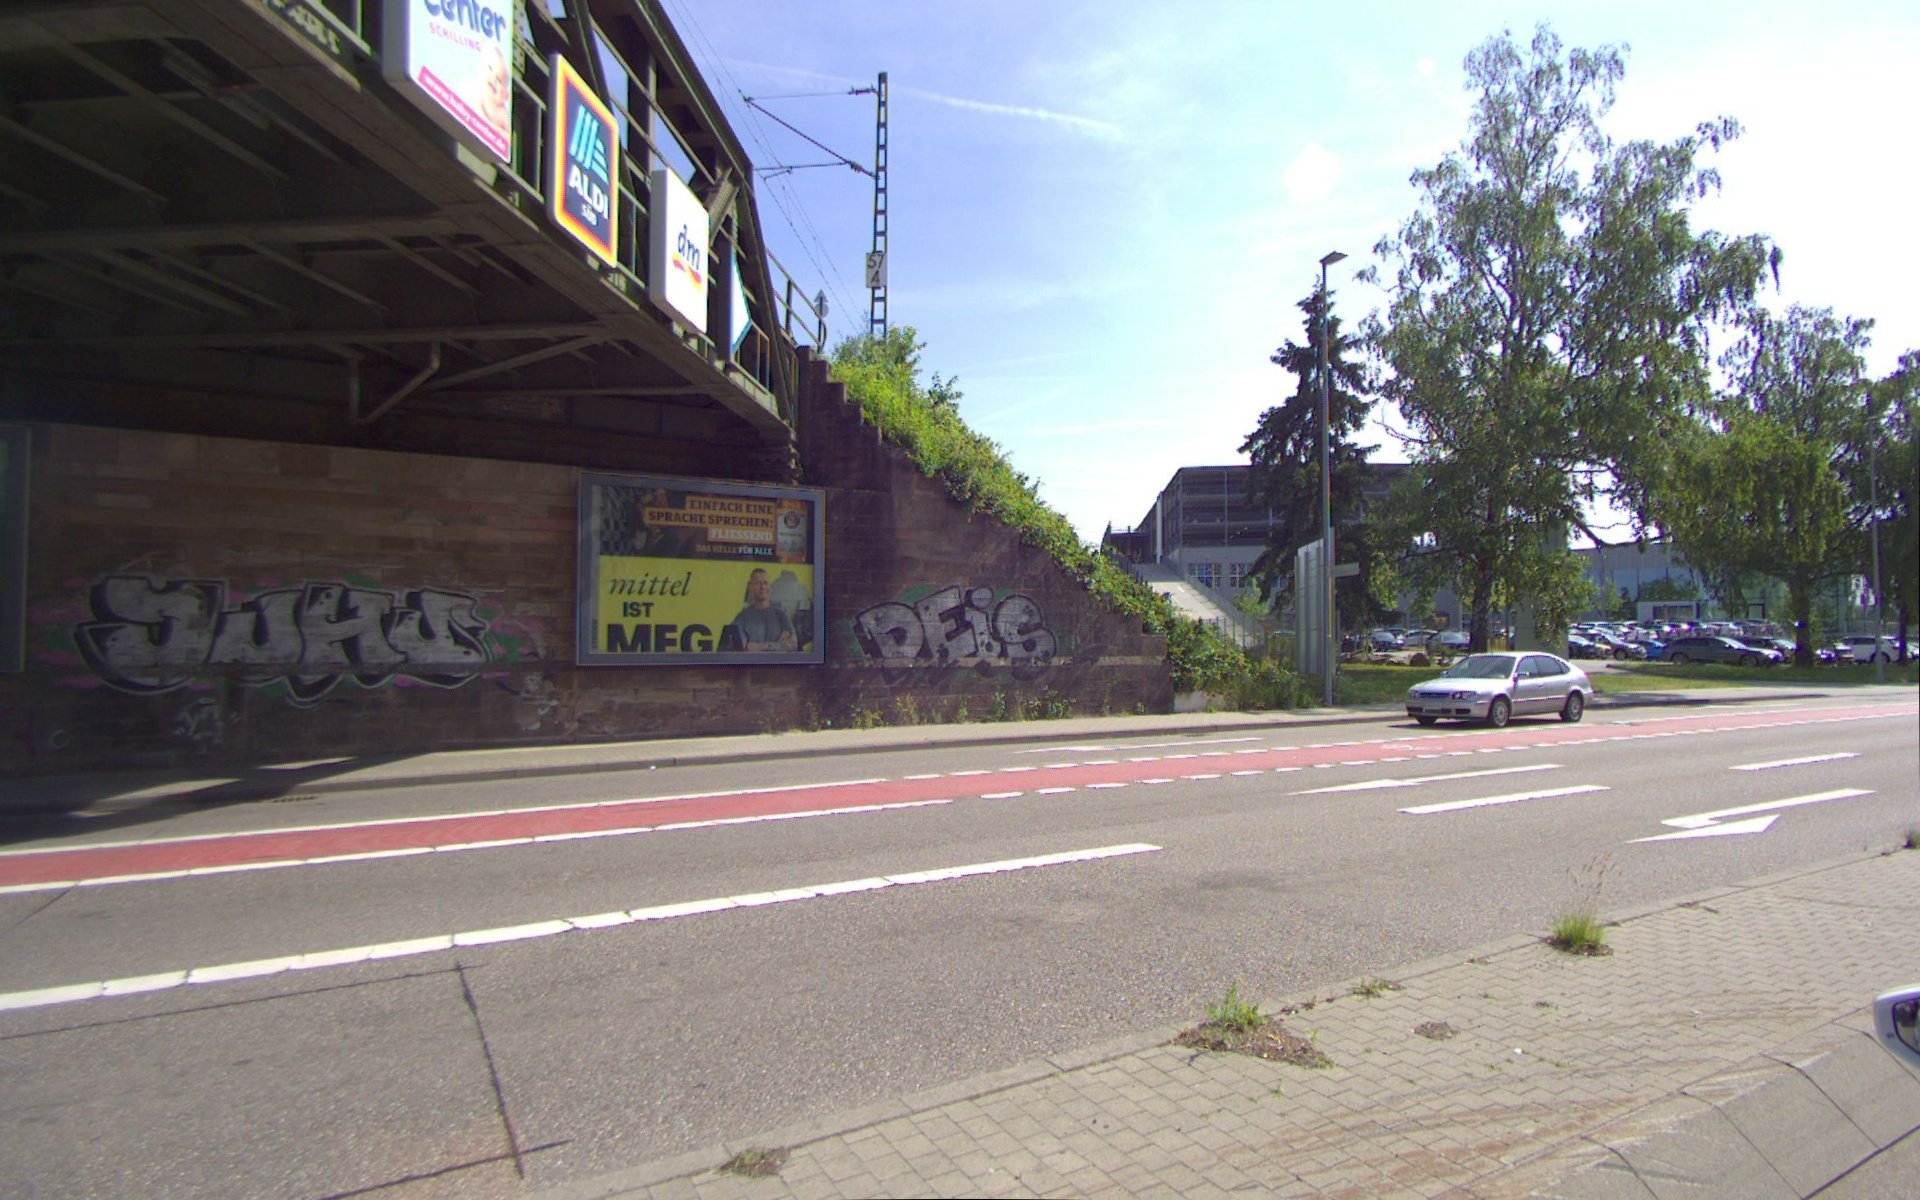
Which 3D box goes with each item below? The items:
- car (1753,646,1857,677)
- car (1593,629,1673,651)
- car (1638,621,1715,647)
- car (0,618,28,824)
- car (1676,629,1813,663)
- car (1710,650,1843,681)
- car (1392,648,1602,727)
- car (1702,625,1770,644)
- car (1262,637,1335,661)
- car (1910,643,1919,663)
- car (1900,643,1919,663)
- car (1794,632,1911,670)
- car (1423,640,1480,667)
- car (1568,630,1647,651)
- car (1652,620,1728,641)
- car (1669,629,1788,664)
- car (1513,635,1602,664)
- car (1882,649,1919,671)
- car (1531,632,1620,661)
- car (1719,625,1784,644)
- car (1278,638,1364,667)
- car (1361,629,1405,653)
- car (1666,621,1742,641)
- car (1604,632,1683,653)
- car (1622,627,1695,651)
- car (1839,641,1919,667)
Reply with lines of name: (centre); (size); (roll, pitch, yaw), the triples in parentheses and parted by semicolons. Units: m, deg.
car: (42.980, 3.105, 51.162); (1.795, 1.389, 3.663); (1, -1, -30)
car: (49.305, 2.942, 73.705); (1.957, 1.504, 4.477); (2, -3, -31)
car: (55.696, 2.663, 78.181); (1.957, 1.988, 4.477); (2, -3, -31)
car: (-10.948, 1.027, 7.547); (5.388, 1.885, 1.985); (2, -5, -31)
car: (36.349, 2.120, 46.676); (1.976, 1.408, 4.665); (1, -1, -30)
car: (40.738, 3.258, 50.258); (1.976, 1.285, 4.829); (1, -1, -30)
car: (10.580, 1.656, 19.711); (4.267, 1.406, 1.628); (1, -3, -30)
car: (64.156, 2.827, 83.084); (2.027, 1.515, 3.968); (1, -1, -30)
car: (24.525, 3.535, 72.821); (4.666, 1.567, 1.815); (1, -1, 2)
car: (64.625, 3.429, 65.332); (1.963, 1.302, 3.662); (1, -4, -31)
car: (62.612, 3.368, 64.015); (1.844, 1.302, 3.576); (1, -4, -31)
car: (49.178, 2.768, 55.464); (1.975, 1.900, 4.445); (1, -1, -28)
car: (31.096, 3.357, 63.661); (1.628, 1.567, 4.037); (1, -1, 1)
car: (46.943, 2.911, 72.901); (1.870, 1.437, 4.476); (1, -1, -31)
car: (57.887, 2.433, 79.677); (1.957, 1.571, 4.477); (2, -3, -31)
car: (37.406, 2.228, 48.977); (1.976, 1.567, 4.194); (1, -1, -30)
car: (35.337, 2.891, 59.493); (1.785, 1.585, 4.221); (1, -1, -31)
car: (60.590, 3.719, 62.894); (1.819, 1.357, 3.868); (1, -4, -31)
car: (37.041, 2.769, 60.524); (1.785, 1.585, 4.221); (1, -1, -31)
car: (66.420, 2.890, 84.310); (1.648, 1.515, 3.968); (1, -1, -30)
car: (22.539, 3.261, 62.874); (4.666, 1.639, 2.001); (1, -1, 2)
car: (32.674, 3.125, 77.695); (1.734, 1.725, 4.001); (1, -1, 1)
car: (59.821, 2.533, 80.849); (1.957, 1.504, 4.477); (2, -3, -31)
car: (51.146, 3.192, 75.257); (1.957, 1.504, 4.477); (2, -3, -31)
car: (53.248, 2.978, 76.626); (1.646, 1.727, 4.247); (2, -3, -31)
car: (53.084, 3.076, 57.550); (1.725, 1.302, 3.771); (1, -1, -31)
